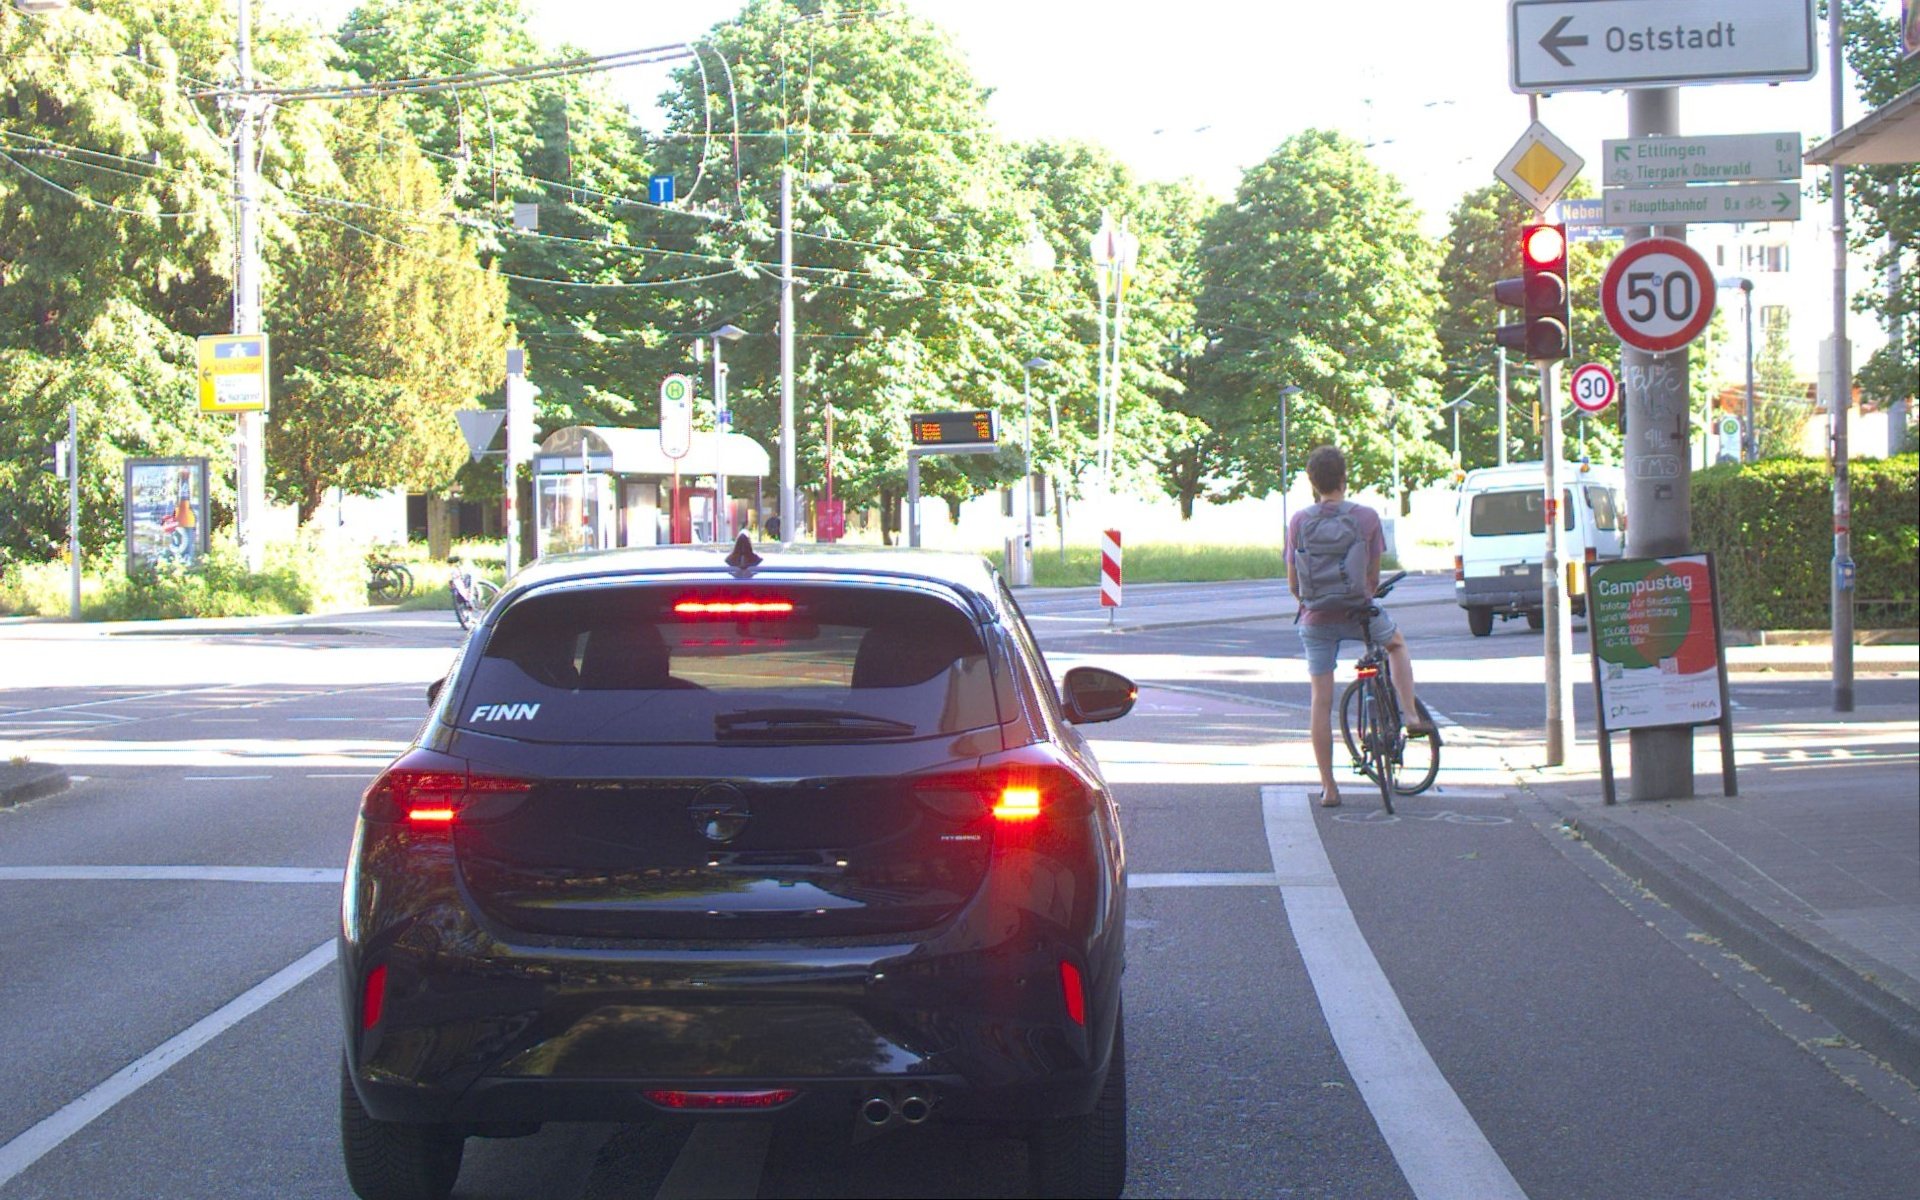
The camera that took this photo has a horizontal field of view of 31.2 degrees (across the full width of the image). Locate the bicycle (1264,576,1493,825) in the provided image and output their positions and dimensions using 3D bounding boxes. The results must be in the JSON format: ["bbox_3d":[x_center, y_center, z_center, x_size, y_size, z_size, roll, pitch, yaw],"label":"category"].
[{"bbox_3d":[2.115,0.475,17.666,0.860,1.149,2.172,-1,1,-1],"label":"bicycle"}]

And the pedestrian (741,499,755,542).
[{"bbox_3d":[-6.999,-2.622,113.329,0.412,1.408,0.436,1,0,-3],"label":"pedestrian"}]

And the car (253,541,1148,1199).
[{"bbox_3d":[-0.518,0.577,8.755,1.727,1.424,4.187,0,1,0],"label":"car"}]

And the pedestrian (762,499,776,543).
[{"bbox_3d":[-6.273,-2.601,113.111,0.412,1.408,0.436,1,0,-1],"label":"pedestrian"}]

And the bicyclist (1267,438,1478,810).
[{"bbox_3d":[2.104,0.110,17.625,0.941,1.845,0.864,-1,1,-1],"label":"bicyclist"}]

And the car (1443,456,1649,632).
[{"bbox_3d":[7.982,-0.773,46.460,2.065,2.241,4.883,0,1,18],"label":"car"}]

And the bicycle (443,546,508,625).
[{"bbox_3d":[-6.544,-0.208,46.481,0.605,1.028,1.982,0,1,-1],"label":"bicycle"}]
